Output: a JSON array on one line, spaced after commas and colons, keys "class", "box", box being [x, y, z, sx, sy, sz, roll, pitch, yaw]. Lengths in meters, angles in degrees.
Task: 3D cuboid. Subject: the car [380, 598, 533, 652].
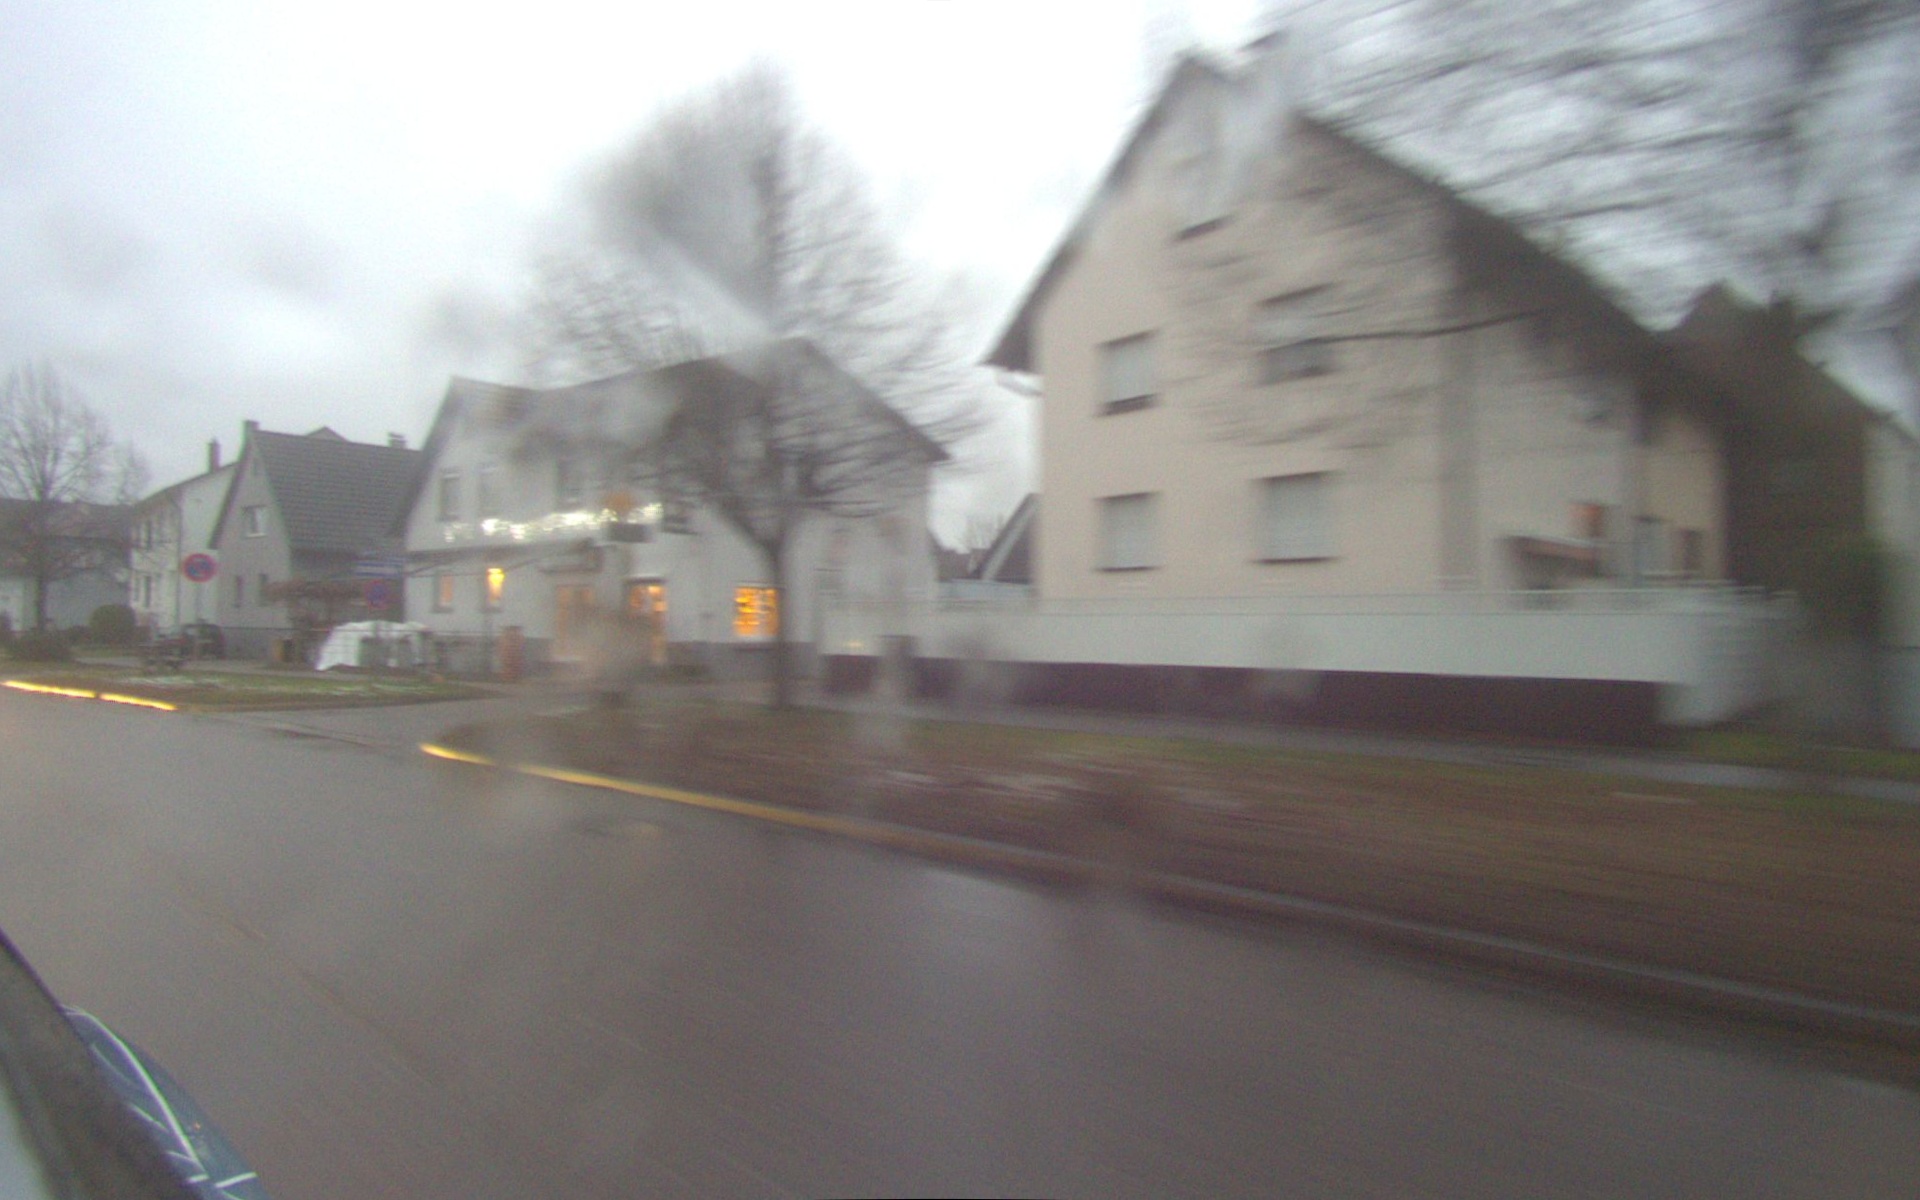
[{"class": "car", "box": [-17.777, 0.882, 35.877, 1.912, 1.813, 4.501, -1, -2, 44]}]

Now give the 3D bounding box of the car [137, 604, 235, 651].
[{"class": "car", "box": [-30.618, 1.064, 39.984, 4.561, 1.769, 1.974, -1, -2, 38]}]
